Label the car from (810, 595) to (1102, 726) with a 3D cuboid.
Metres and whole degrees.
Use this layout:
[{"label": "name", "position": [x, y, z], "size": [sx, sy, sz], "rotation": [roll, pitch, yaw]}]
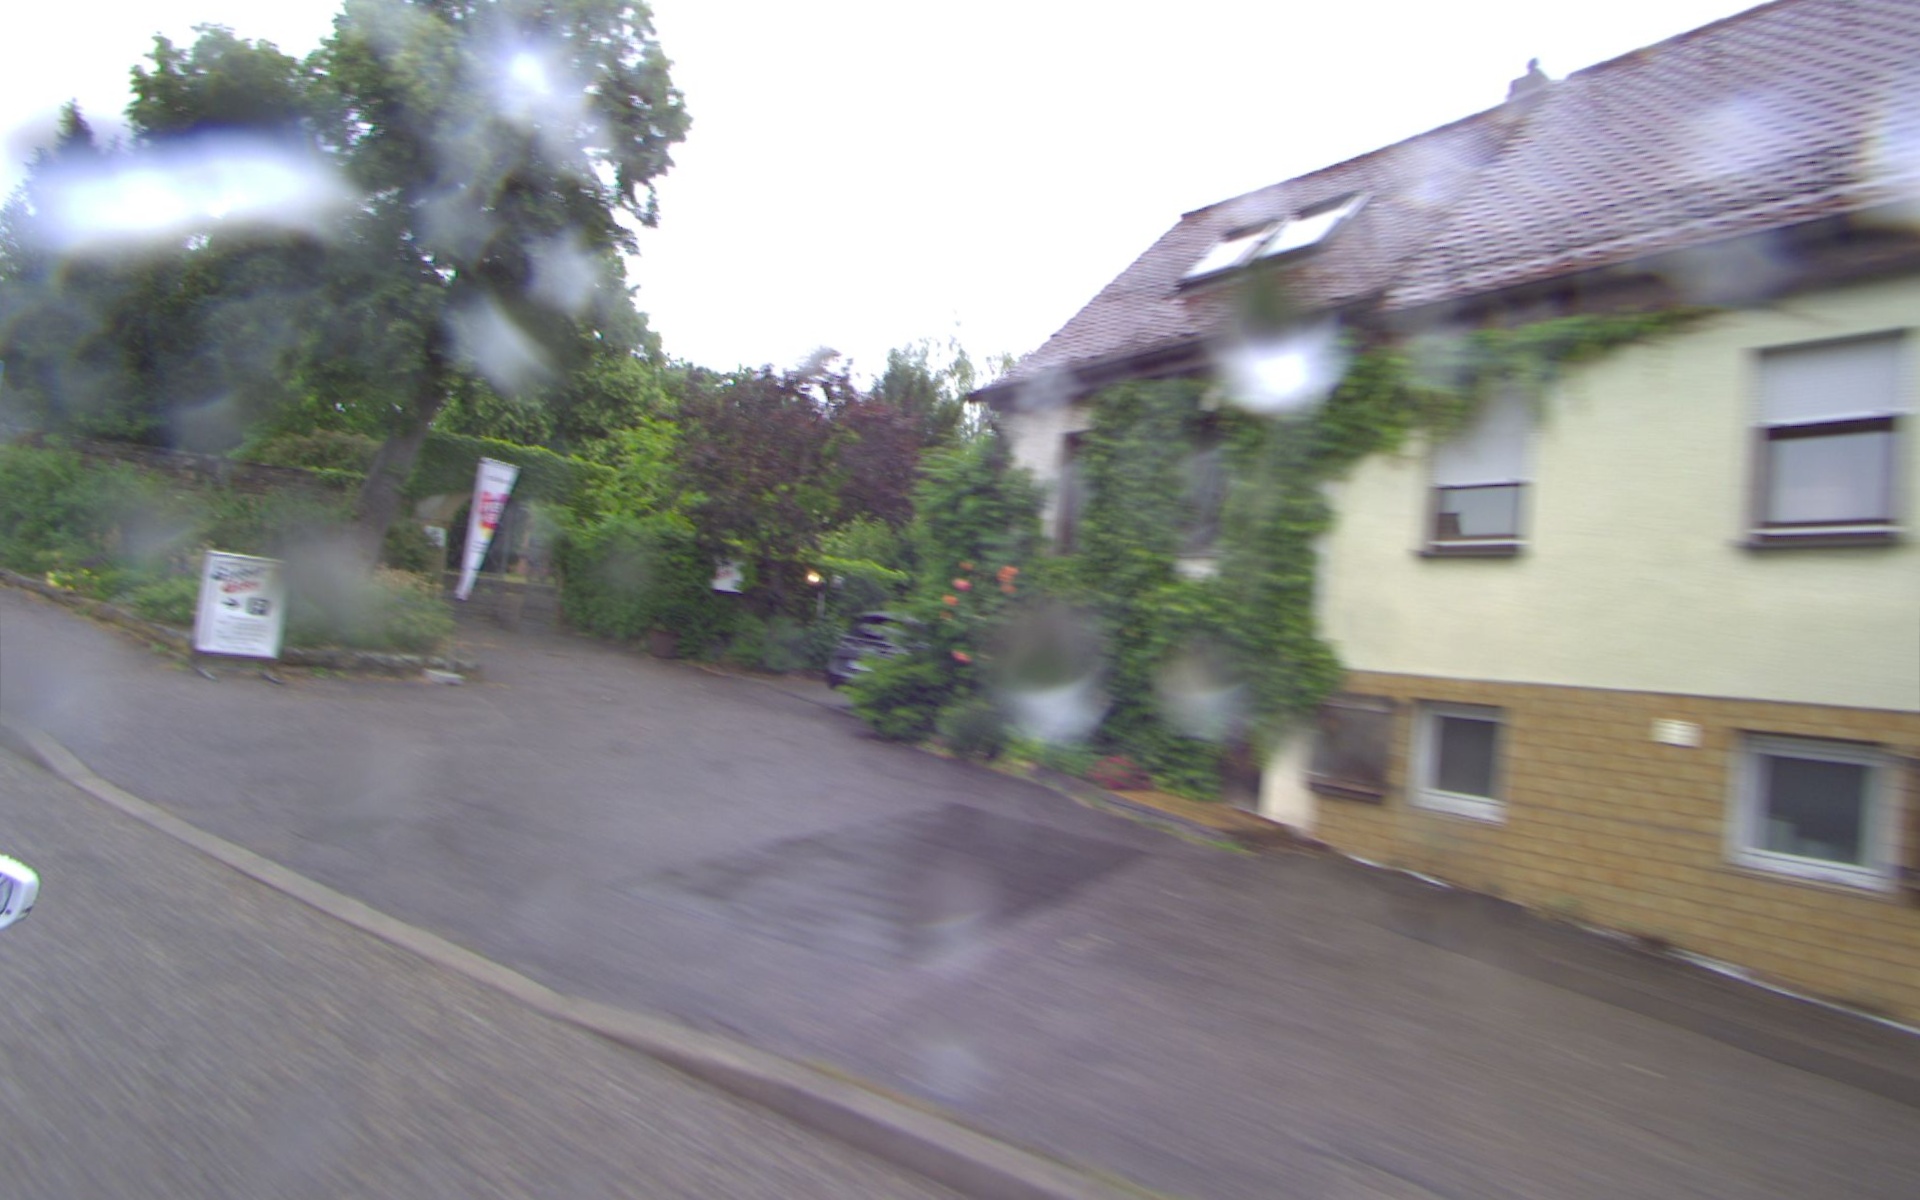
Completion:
[{"label": "car", "position": [0.060, 0.925, 14.436], "size": [4.085, 1.478, 1.655], "rotation": [7, 1, -44]}]
